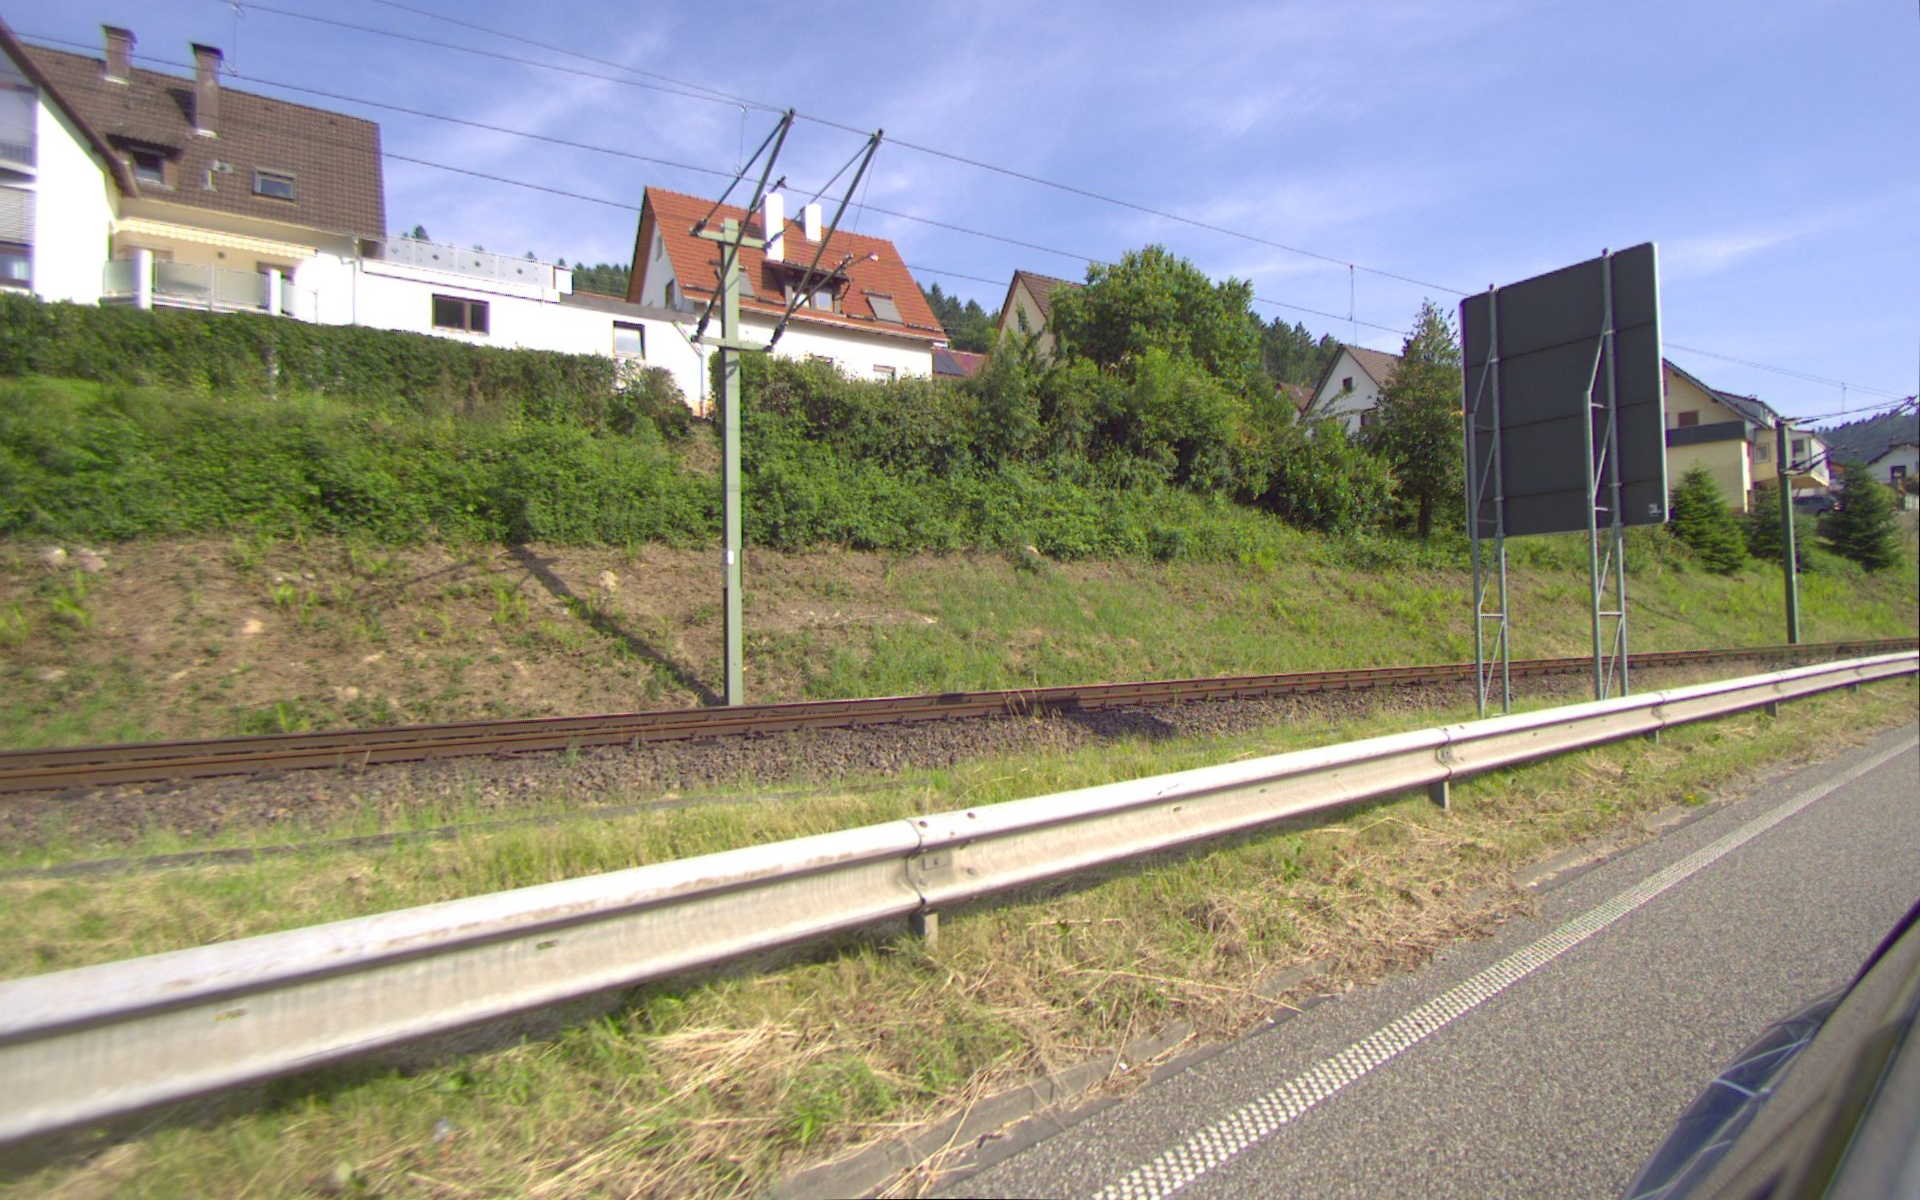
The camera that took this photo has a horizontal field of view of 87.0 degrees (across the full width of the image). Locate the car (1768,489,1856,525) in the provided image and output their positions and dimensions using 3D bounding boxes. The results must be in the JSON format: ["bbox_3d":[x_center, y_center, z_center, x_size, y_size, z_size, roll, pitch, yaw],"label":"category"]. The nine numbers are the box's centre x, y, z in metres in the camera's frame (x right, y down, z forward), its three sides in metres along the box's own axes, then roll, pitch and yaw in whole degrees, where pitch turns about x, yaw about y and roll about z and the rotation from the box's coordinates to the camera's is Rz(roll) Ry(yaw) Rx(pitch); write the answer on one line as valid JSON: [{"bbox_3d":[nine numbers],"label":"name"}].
[{"bbox_3d":[51.801,-5.627,61.592,1.720,1.560,3.749,-2,-3,-37],"label":"car"}]
